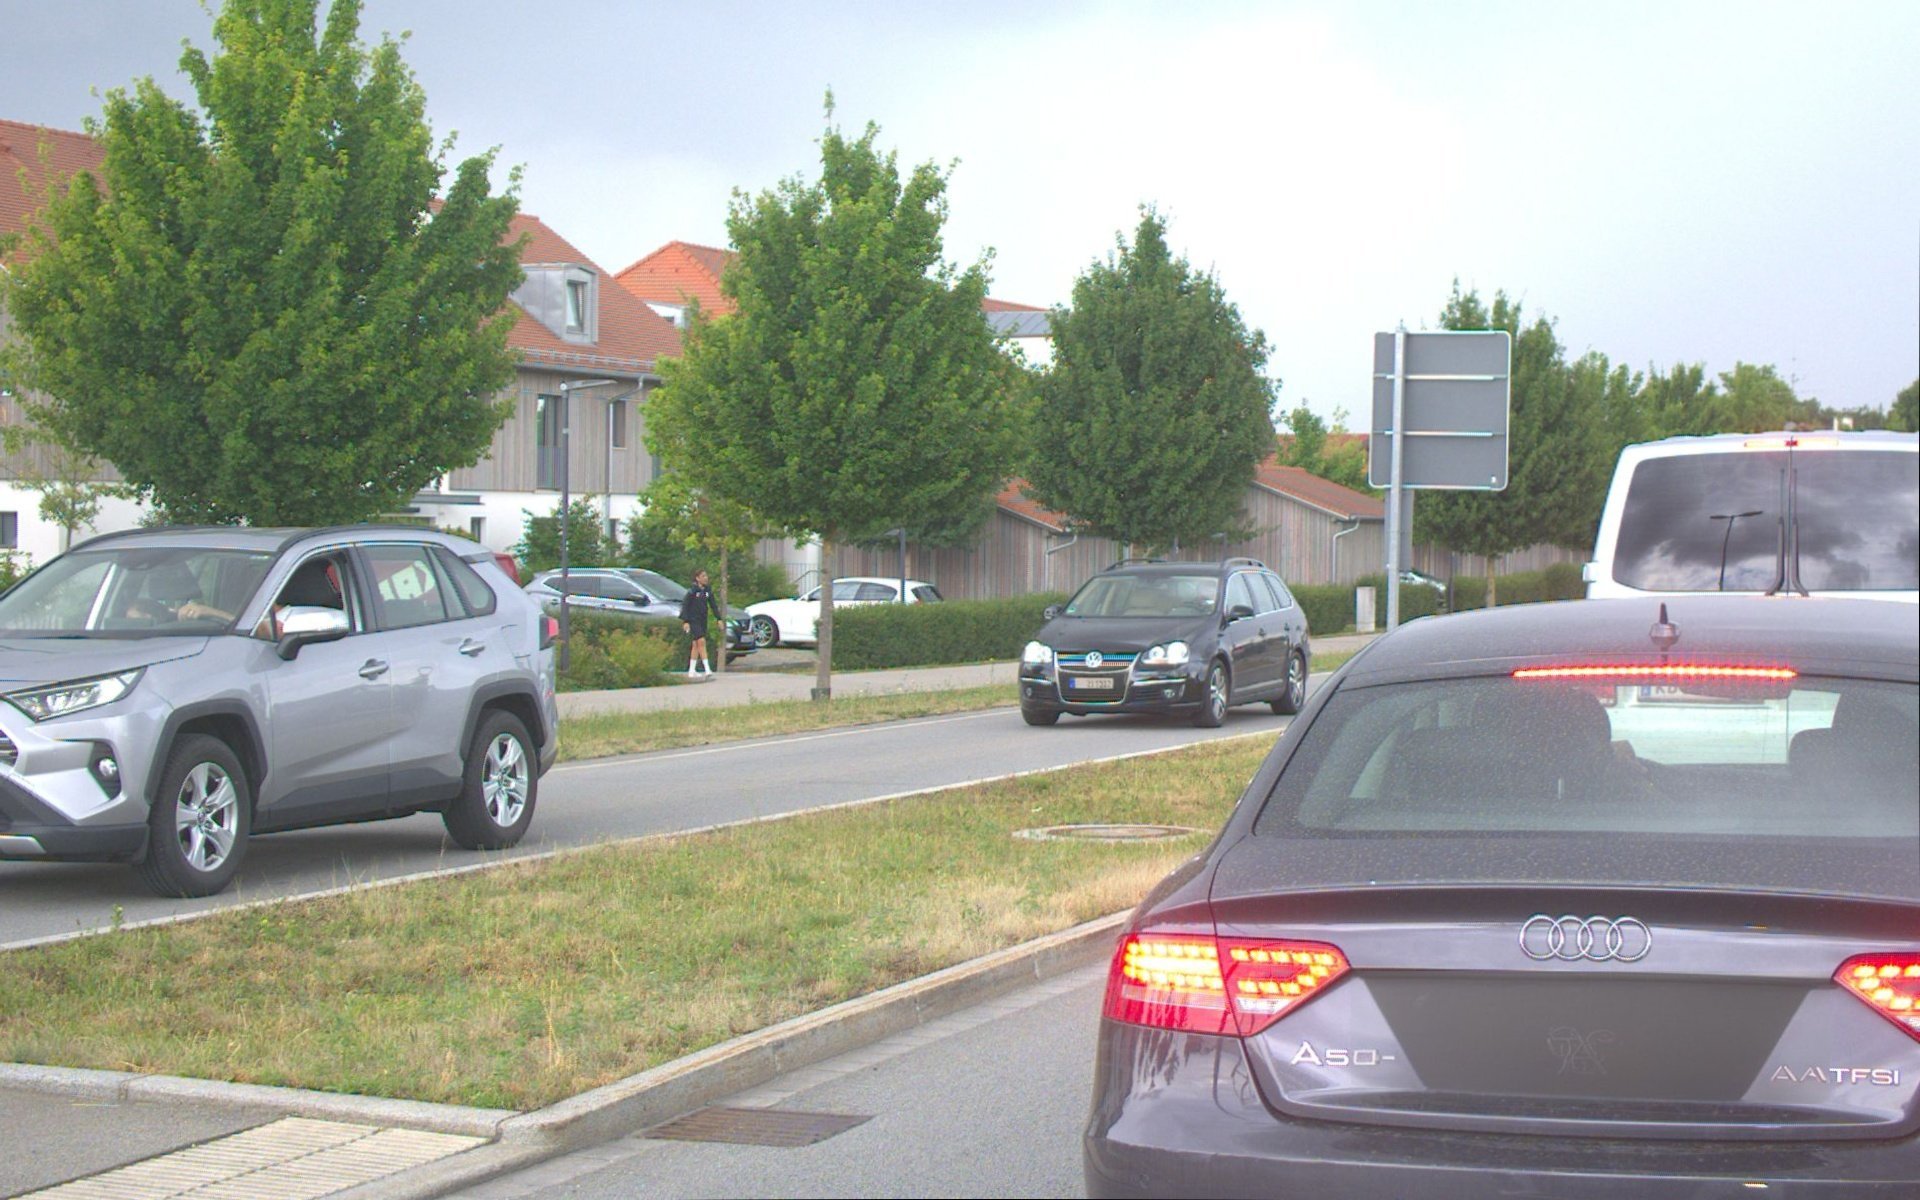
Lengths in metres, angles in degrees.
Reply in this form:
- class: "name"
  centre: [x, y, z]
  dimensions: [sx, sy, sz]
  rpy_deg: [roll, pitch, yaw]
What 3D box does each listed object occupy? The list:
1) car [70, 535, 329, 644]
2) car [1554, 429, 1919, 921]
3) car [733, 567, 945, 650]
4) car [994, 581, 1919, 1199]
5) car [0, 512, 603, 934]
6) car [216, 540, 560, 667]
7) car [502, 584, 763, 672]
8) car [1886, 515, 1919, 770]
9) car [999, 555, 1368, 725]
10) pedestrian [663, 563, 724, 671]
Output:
- class: "car"
  centre: [-13.030, -0.179, 59.169]
  dimensions: [1.996, 1.766, 4.459]
  rpy_deg: [2, 1, 25]
- class: "car"
  centre: [3.933, 0.251, 15.616]
  dimensions: [1.869, 1.927, 3.997]
  rpy_deg: [1, 2, 18]
- class: "car"
  centre: [-2.342, 0.141, 66.643]
  dimensions: [3.732, 1.477, 1.685]
  rpy_deg: [2, 1, 18]
- class: "car"
  centre: [1.539, 0.681, 6.771]
  dimensions: [1.785, 1.387, 4.129]
  rpy_deg: [1, 1, 18]
- class: "car"
  centre: [-3.670, 0.456, 16.353]
  dimensions: [1.996, 1.698, 4.630]
  rpy_deg: [1, 1, 22]
- class: "car"
  centre: [-8.260, 0.019, 49.655]
  dimensions: [4.536, 1.674, 1.997]
  rpy_deg: [2, 1, 24]
- class: "car"
  centre: [-5.464, 0.447, 57.496]
  dimensions: [3.918, 1.310, 1.841]
  rpy_deg: [2, 1, 18]
- class: "car"
  centre: [7.435, 0.256, 23.392]
  dimensions: [1.778, 1.612, 3.996]
  rpy_deg: [1, 1, 21]
- class: "car"
  centre: [2.102, 0.308, 31.025]
  dimensions: [1.756, 1.411, 4.449]
  rpy_deg: [0, 1, 26]
- class: "pedestrian"
  centre: [-3.910, 0.246, 50.463]
  dimensions: [0.659, 1.553, 0.582]
  rpy_deg: [2, 1, 31]
